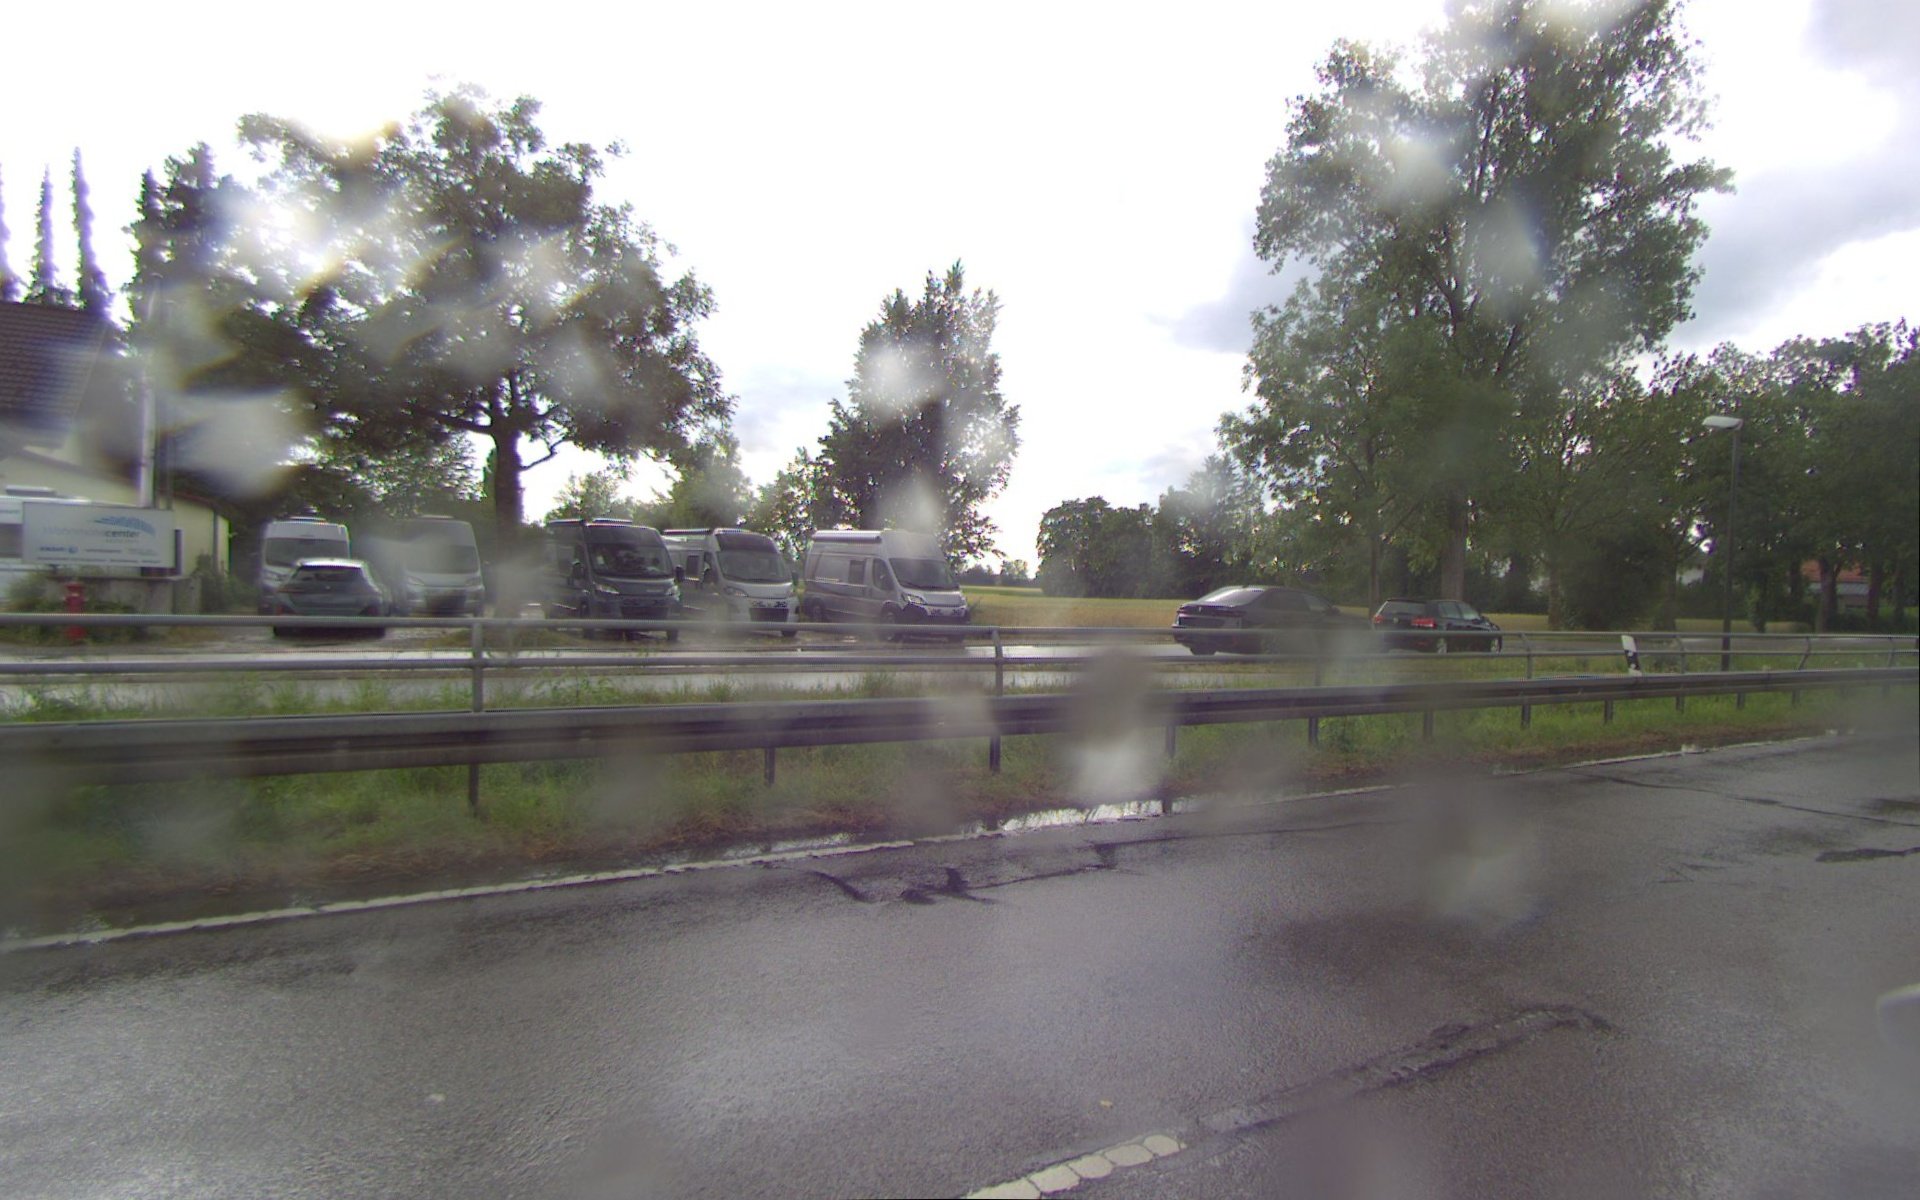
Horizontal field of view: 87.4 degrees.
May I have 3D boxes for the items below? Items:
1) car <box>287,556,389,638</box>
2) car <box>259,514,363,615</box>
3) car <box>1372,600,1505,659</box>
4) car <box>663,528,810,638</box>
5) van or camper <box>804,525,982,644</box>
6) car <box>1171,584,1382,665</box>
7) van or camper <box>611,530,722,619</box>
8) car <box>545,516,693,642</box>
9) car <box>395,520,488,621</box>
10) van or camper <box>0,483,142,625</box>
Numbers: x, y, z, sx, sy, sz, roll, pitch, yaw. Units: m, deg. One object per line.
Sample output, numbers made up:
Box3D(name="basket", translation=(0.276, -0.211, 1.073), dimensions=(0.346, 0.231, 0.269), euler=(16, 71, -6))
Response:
Box3D(name="car", translation=(-12.737, -0.111, 20.729), dimensions=(1.521, 1.516, 3.867), euler=(1, 2, -28))
Box3D(name="car", translation=(-17.657, -0.954, 27.593), dimensions=(2.067, 2.449, 6.062), euler=(1, 1, -30))
Box3D(name="car", translation=(12.027, 0.722, 25.167), dimensions=(3.859, 1.349, 1.274), euler=(1, 1, -35))
Box3D(name="car", translation=(-5.770, -0.471, 25.395), dimensions=(1.978, 2.492, 5.062), euler=(1, 2, -33))
Box3D(name="van or camper", translation=(-1.908, -0.441, 25.918), dimensions=(2.058, 2.713, 5.842), euler=(1, 2, -31))
Box3D(name="car", translation=(6.810, 0.499, 21.344), dimensions=(5.071, 1.511, 1.505), euler=(1, 2, -35))
Box3D(name="van or camper", translation=(-9.624, -0.849, 32.558), dimensions=(1.978, 2.625, 5.772), euler=(1, 2, -31))
Box3D(name="car", translation=(-7.884, -0.506, 22.889), dimensions=(1.978, 2.535, 5.152), euler=(1, 2, -33))
Box3D(name="car", translation=(-15.056, -0.851, 28.996), dimensions=(2.067, 2.573, 6.062), euler=(1, 1, -30))
Box3D(name="van or camper", translation=(-19.480, -0.972, 21.240), dimensions=(2.533, 2.626, 6.189), euler=(1, 2, -31))
